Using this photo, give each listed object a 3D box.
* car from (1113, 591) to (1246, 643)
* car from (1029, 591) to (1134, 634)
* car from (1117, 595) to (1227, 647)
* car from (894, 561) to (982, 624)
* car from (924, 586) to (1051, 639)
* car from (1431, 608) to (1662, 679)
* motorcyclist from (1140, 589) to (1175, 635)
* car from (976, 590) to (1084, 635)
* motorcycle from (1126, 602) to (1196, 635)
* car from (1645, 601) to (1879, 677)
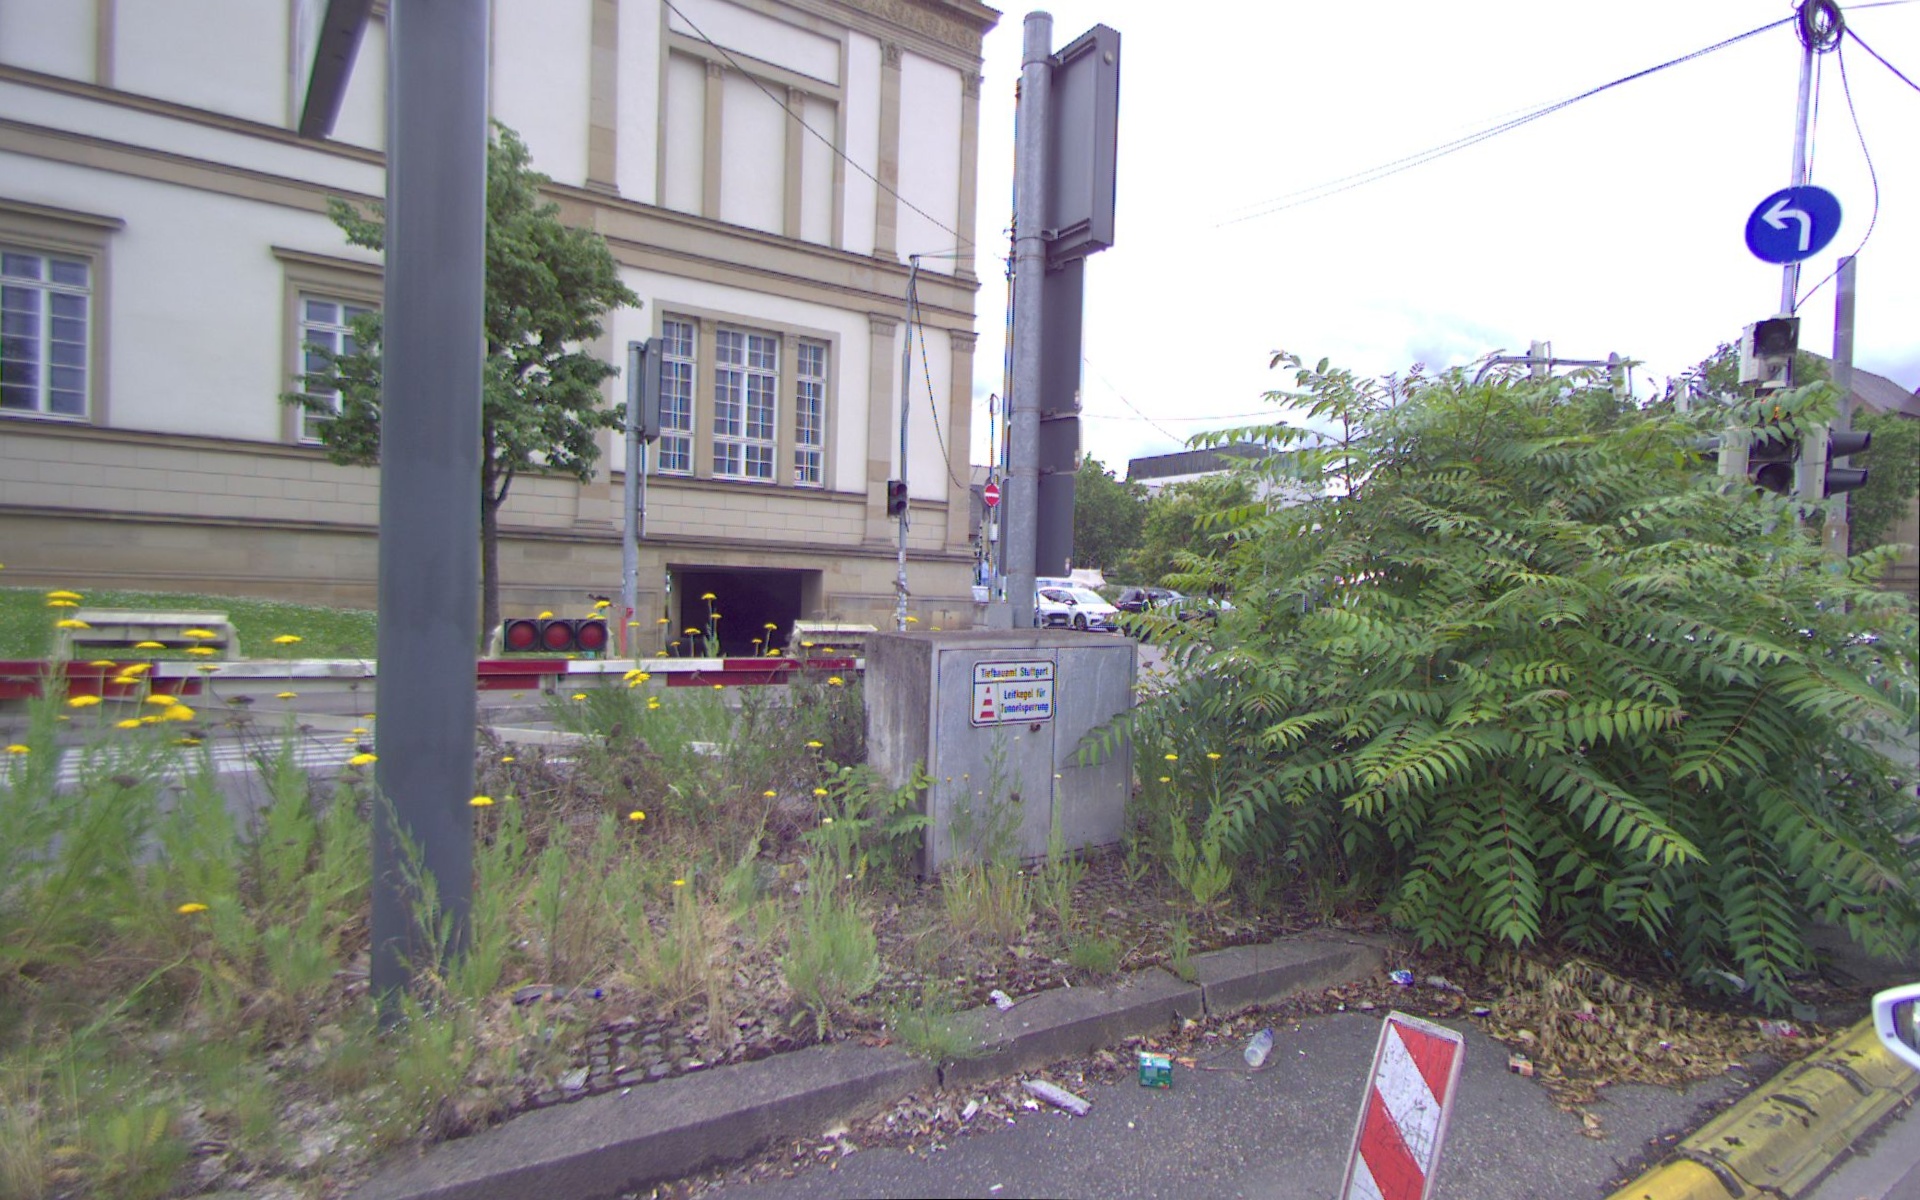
[{"bbox_3d":[7.170,0.529,33.142,1.978,1.568,4.084,2,0,-32],"label":"car"},{"bbox_3d":[4.770,0.460,39.973,1.979,1.568,4.083,2,0,-33],"label":"car"},{"bbox_3d":[8.053,0.762,38.446,1.889,1.763,3.964,2,1,-32],"label":"car"},{"bbox_3d":[-1.001,-0.312,43.725,1.978,2.585,4.083,2,0,-32],"label":"car"},{"bbox_3d":[0.847,0.380,33.822,1.871,1.647,4.319,2,0,-40],"label":"car"},{"bbox_3d":[14.138,1.000,24.502,1.977,1.485,4.467,2,0,-31],"label":"car"},{"bbox_3d":[6.130,0.381,31.160,0.690,1.398,0.784,2,0,-33],"label":"motorcyclist"},{"bbox_3d":[2.553,0.436,37.656,1.978,1.568,4.083,2,0,-32],"label":"car"},{"bbox_3d":[6.183,0.556,31.059,0.690,0.953,2.335,2,0,-32],"label":"motorcycle"},{"bbox_3d":[21.029,0.962,26.525,1.980,1.783,4.461,2,0,-35],"label":"car"}]
